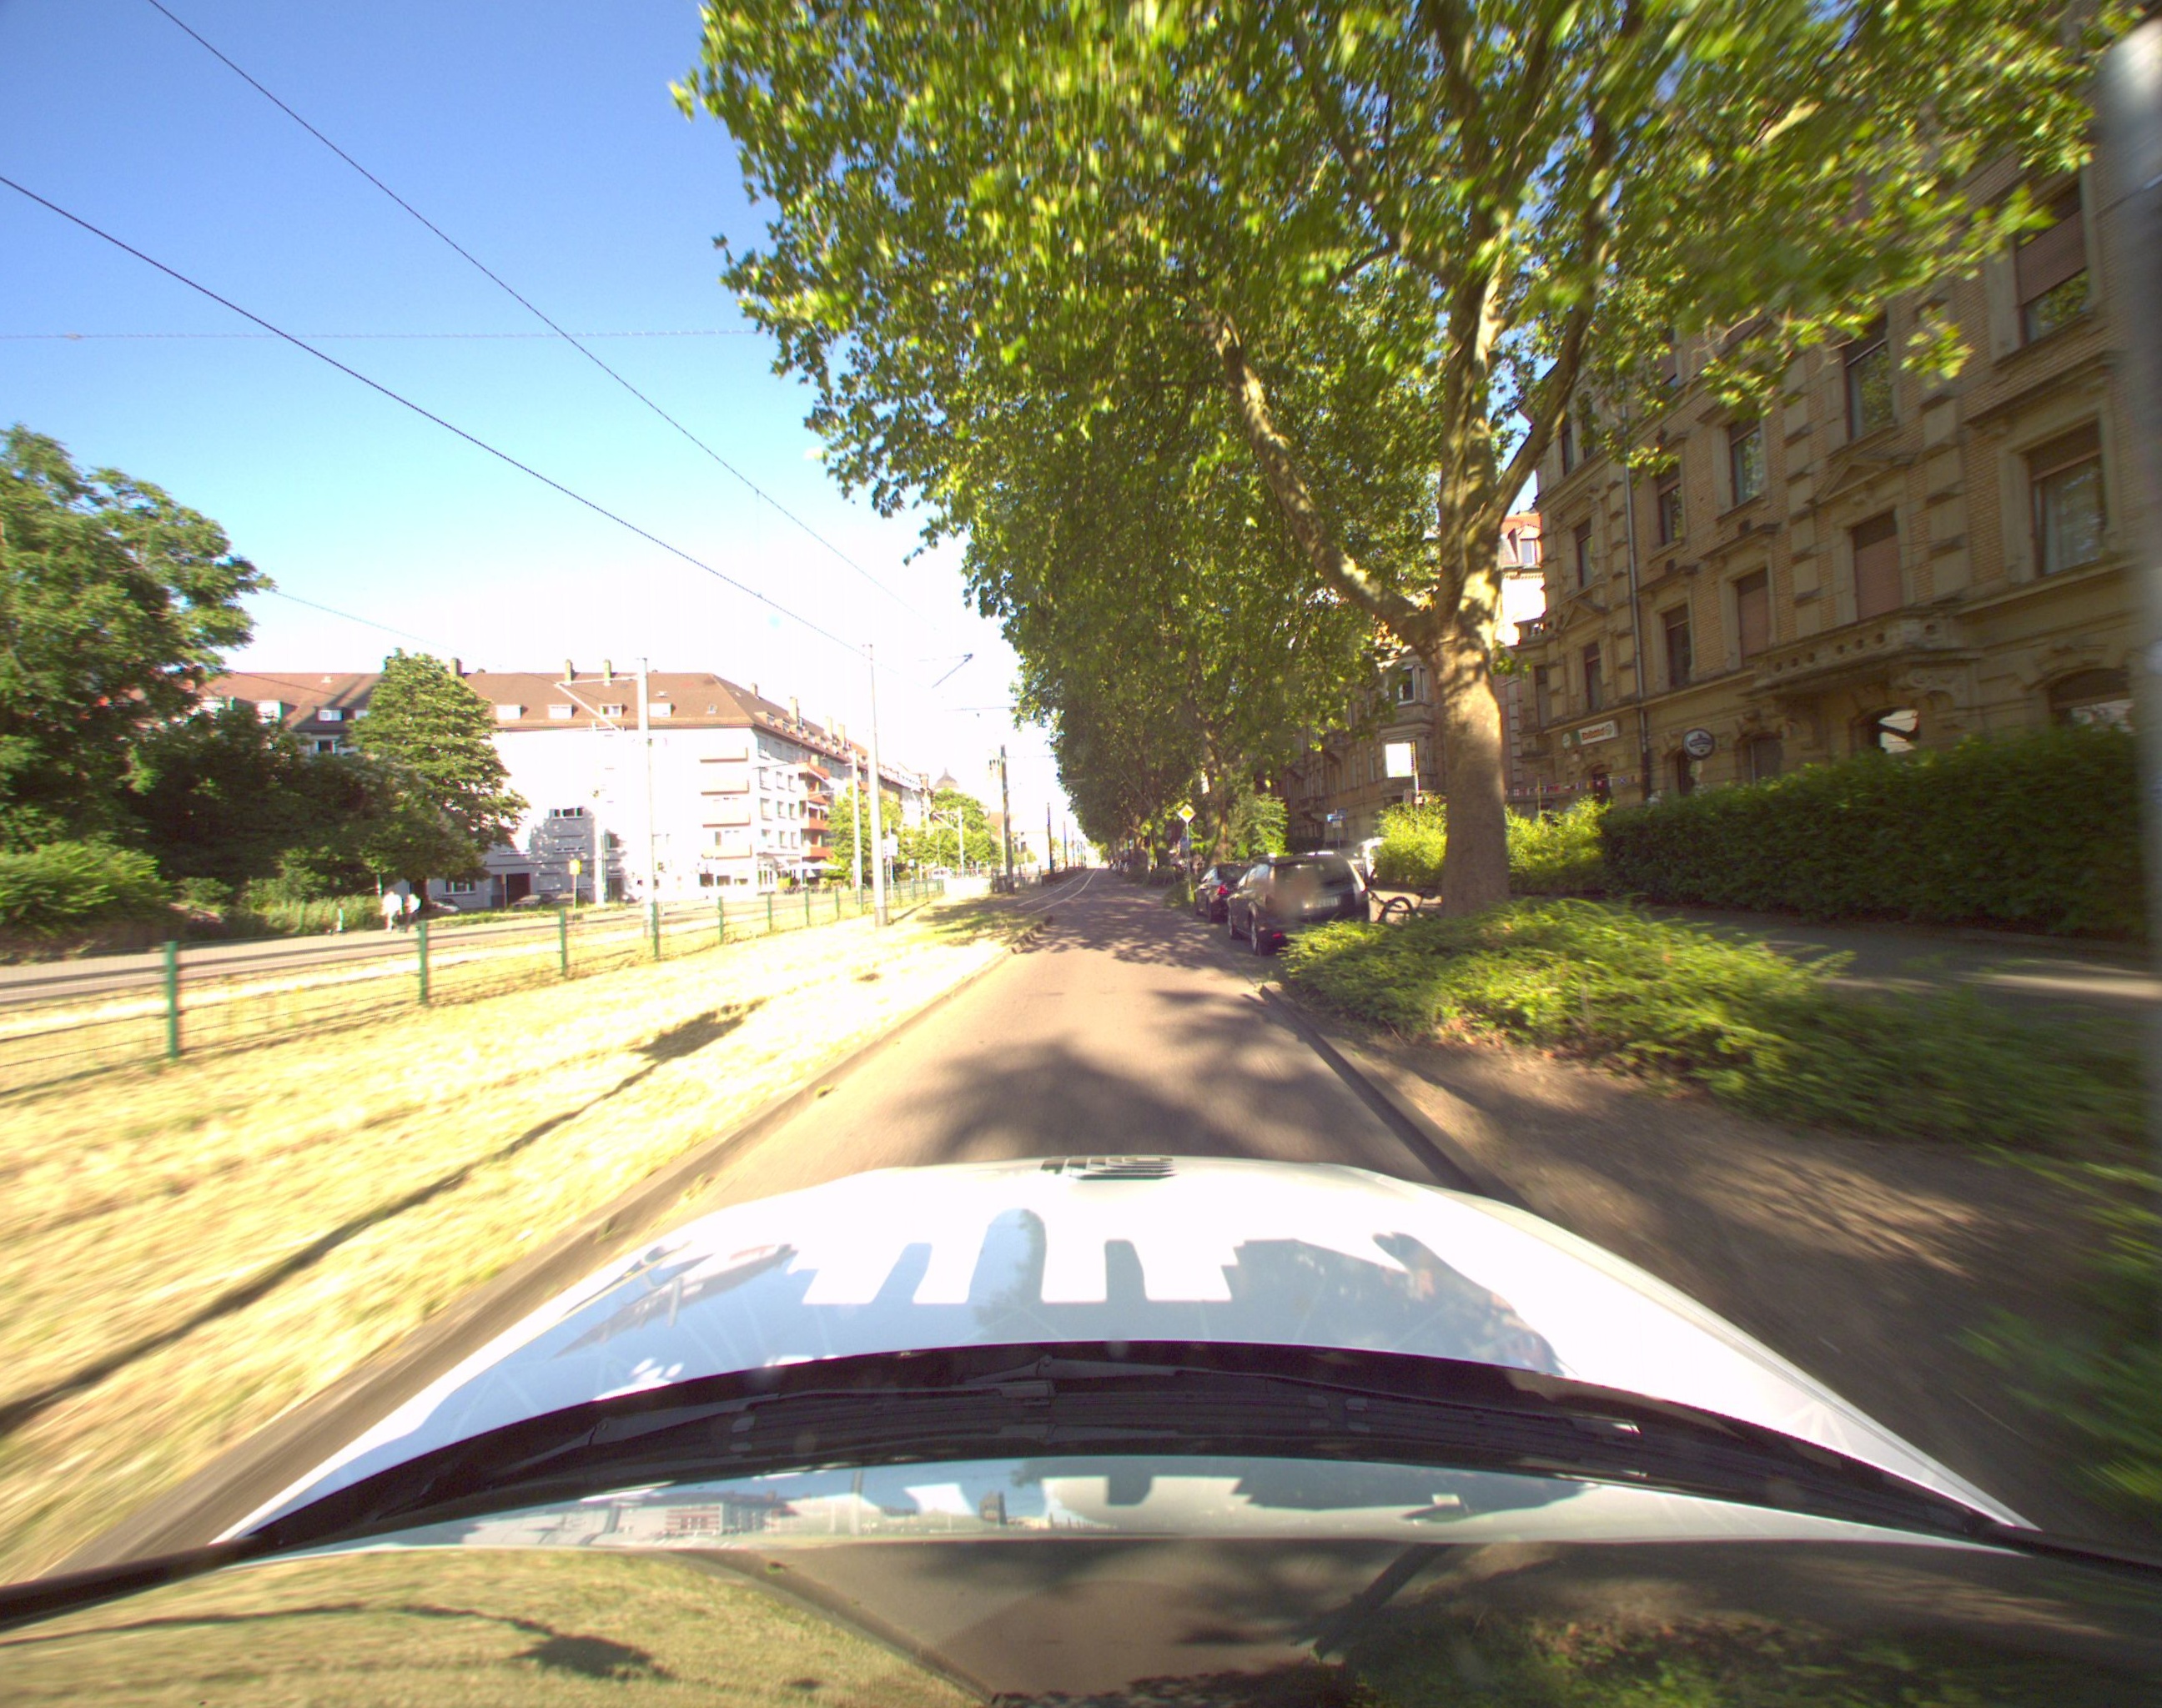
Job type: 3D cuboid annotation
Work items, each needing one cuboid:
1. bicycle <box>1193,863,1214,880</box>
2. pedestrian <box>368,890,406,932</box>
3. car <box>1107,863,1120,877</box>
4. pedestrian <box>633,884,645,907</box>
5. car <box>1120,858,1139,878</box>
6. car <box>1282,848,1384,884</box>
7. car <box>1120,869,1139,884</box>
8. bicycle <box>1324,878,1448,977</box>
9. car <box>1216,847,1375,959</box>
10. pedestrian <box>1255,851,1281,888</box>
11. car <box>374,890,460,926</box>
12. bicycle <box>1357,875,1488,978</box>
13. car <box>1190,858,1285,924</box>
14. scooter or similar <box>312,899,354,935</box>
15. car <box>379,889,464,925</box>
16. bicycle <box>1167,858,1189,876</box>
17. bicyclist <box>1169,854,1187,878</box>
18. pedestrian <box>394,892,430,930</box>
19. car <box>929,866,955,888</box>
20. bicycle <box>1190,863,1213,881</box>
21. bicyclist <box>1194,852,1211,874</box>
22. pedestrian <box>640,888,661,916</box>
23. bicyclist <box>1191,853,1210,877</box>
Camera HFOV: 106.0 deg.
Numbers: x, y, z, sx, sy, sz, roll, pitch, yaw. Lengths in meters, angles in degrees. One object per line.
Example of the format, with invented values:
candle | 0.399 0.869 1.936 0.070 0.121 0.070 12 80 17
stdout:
bicycle | 8.282 1.179 55.184 0.813 0.957 2.312 -4 2 -7
pedestrian | -28.161 2.302 33.063 0.641 1.598 0.898 -4 1 1
car | 4.885 2.470 123.393 1.986 2.108 4.001 -1 -2 2
pedestrian | -29.475 2.746 54.301 0.592 1.467 0.908 -4 2 -29
car | 5.372 1.592 90.852 1.986 2.108 4.001 -1 -2 2
car | 11.609 0.552 37.630 3.993 1.420 1.990 -3 -1 -14
car | 4.882 2.256 81.891 1.787 1.510 4.001 -1 -2 2
bicycle | 3.881 0.900 10.338 1.606 1.042 0.504 -5 2 -29
car | 3.433 0.730 13.813 1.637 1.511 4.184 -4 -1 2
pedestrian | 9.136 0.743 39.757 0.813 1.689 1.078 -4 1 -8
car | -45.879 3.690 56.347 3.987 2.013 1.993 -4 2 -10
bicycle | 4.142 0.838 9.854 1.606 1.026 0.537 -5 2 -29
car | 3.799 0.851 20.421 1.637 1.373 4.184 -4 -1 2
scooter or similar | -29.756 2.485 32.395 0.400 1.261 1.231 -4 2 2
car | -45.798 3.674 56.634 3.987 2.013 1.993 -4 2 -10
bicycle | 5.990 0.786 50.399 0.813 0.957 2.312 -4 2 -7
bicyclist | 5.990 0.726 50.391 0.813 1.405 1.078 -4 2 -8
pedestrian | -27.376 2.324 33.323 0.587 1.467 0.916 -4 1 2
car | -14.694 2.421 86.103 1.988 2.013 3.998 -4 2 -2
bicycle | 7.493 1.105 50.751 0.813 0.957 2.312 -4 2 -7
bicyclist | 8.223 0.613 55.121 0.813 1.405 0.823 -4 1 -8
pedestrian | -23.899 2.657 45.204 0.685 1.467 0.592 -4 1 5
bicyclist | 7.463 0.701 50.816 0.813 1.405 1.078 -4 2 -8
